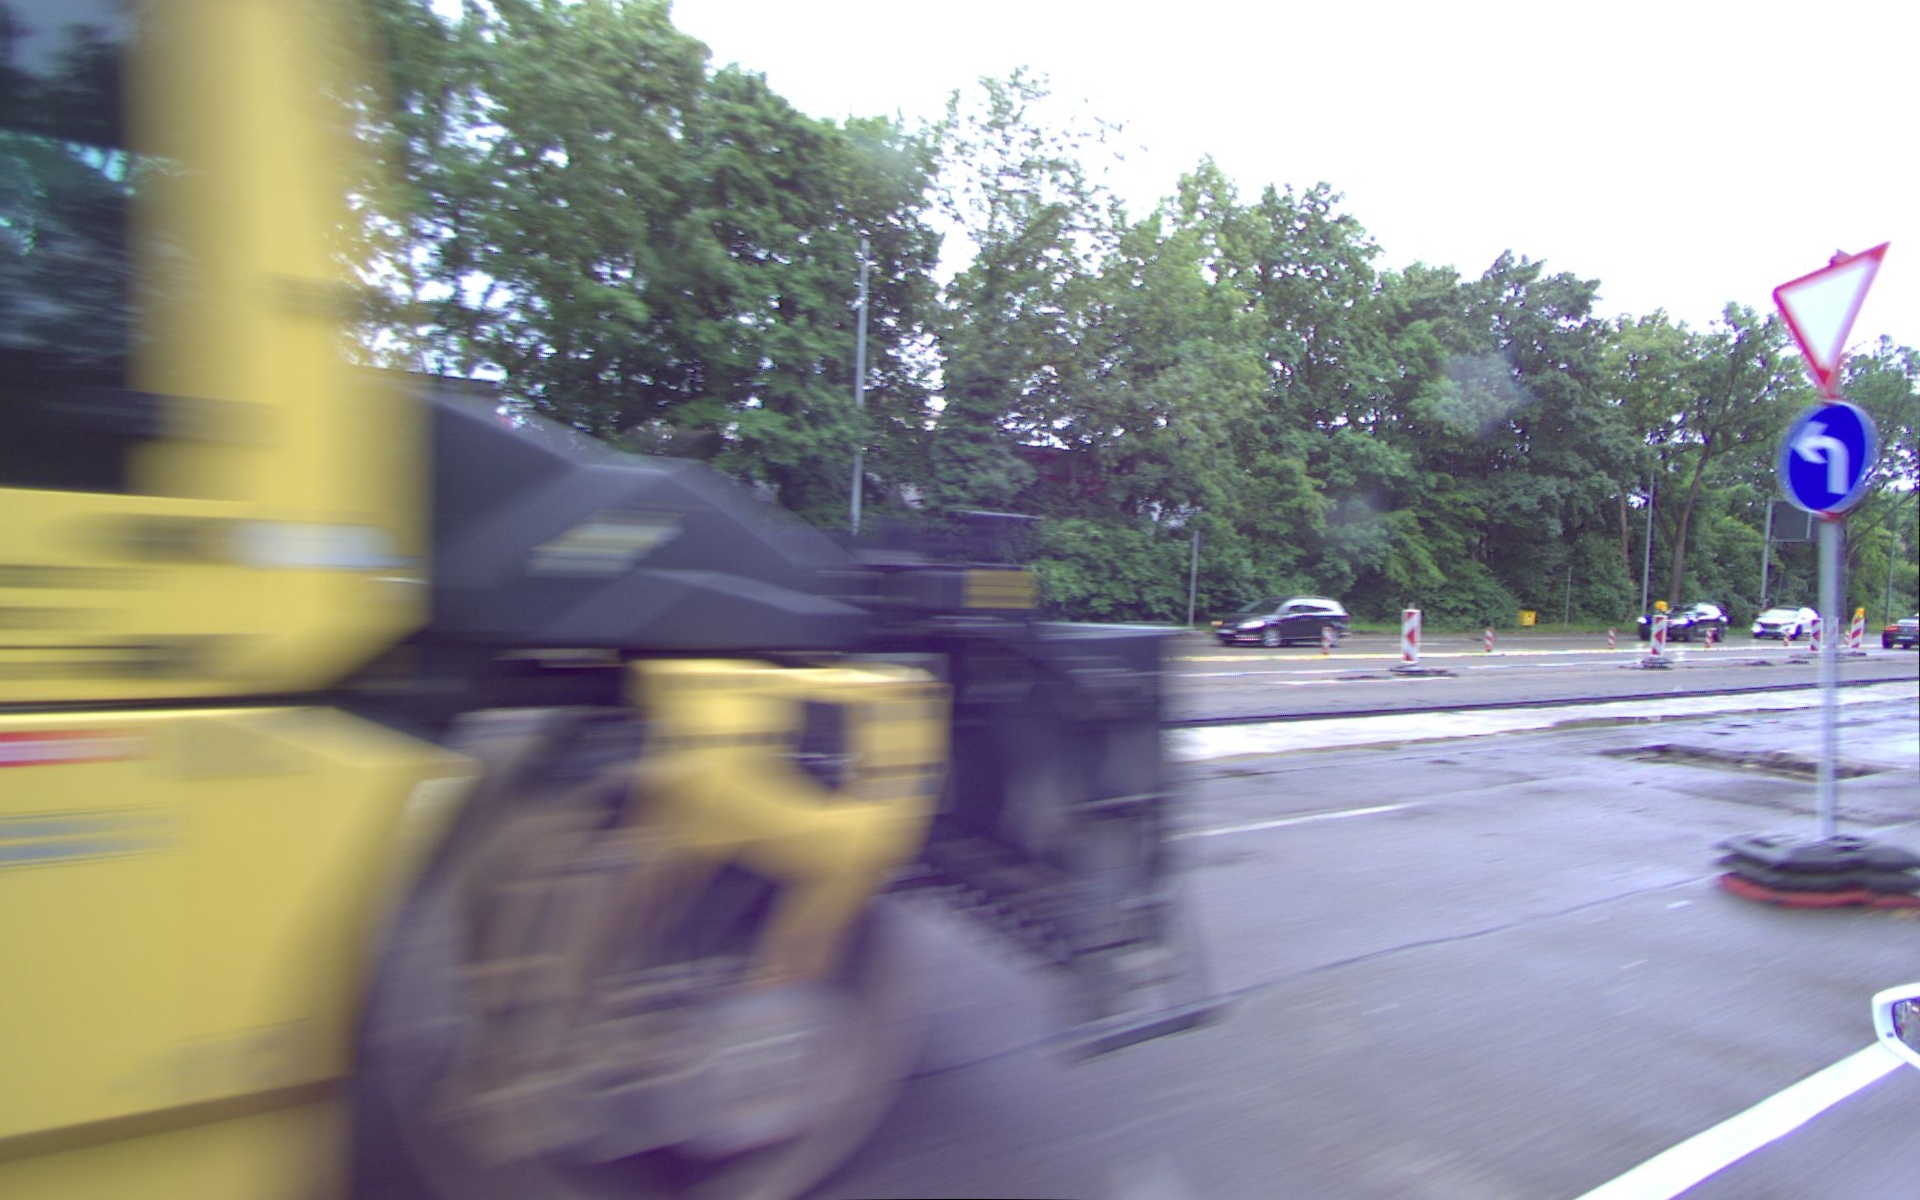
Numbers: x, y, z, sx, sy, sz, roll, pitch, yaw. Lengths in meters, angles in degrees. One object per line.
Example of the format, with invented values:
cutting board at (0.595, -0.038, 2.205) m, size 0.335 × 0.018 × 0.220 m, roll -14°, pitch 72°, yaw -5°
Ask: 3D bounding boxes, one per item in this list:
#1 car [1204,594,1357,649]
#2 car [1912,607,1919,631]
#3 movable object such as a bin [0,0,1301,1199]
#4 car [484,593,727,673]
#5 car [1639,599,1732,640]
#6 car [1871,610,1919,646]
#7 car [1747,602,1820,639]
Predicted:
car at (9.548, 0.629, 29.822) m, size 4.631 × 1.472 × 1.774 m, roll 1°, pitch 1°, yaw -33°
car at (65.393, 1.279, 67.133) m, size 4.113 × 1.561 × 1.657 m, roll 1°, pitch -1°, yaw -33°
movable object such as a bin at (-1.718, -0.096, 2.438) m, size 5.183 × 3.025 × 1.795 m, roll 1°, pitch 1°, yaw -30°
car at (-7.207, 0.652, 20.542) m, size 4.417 × 1.445 × 1.775 m, roll 1°, pitch 1°, yaw -31°
car at (31.961, 0.854, 44.217) m, size 4.865 × 1.685 × 1.765 m, roll 1°, pitch 0°, yaw -34°
car at (41.583, 1.223, 43.962) m, size 3.999 × 1.423 × 1.597 m, roll 1°, pitch 2°, yaw -34°
car at (42.314, 1.050, 51.587) m, size 4.335 × 1.774 × 1.765 m, roll 1°, pitch 1°, yaw -34°
